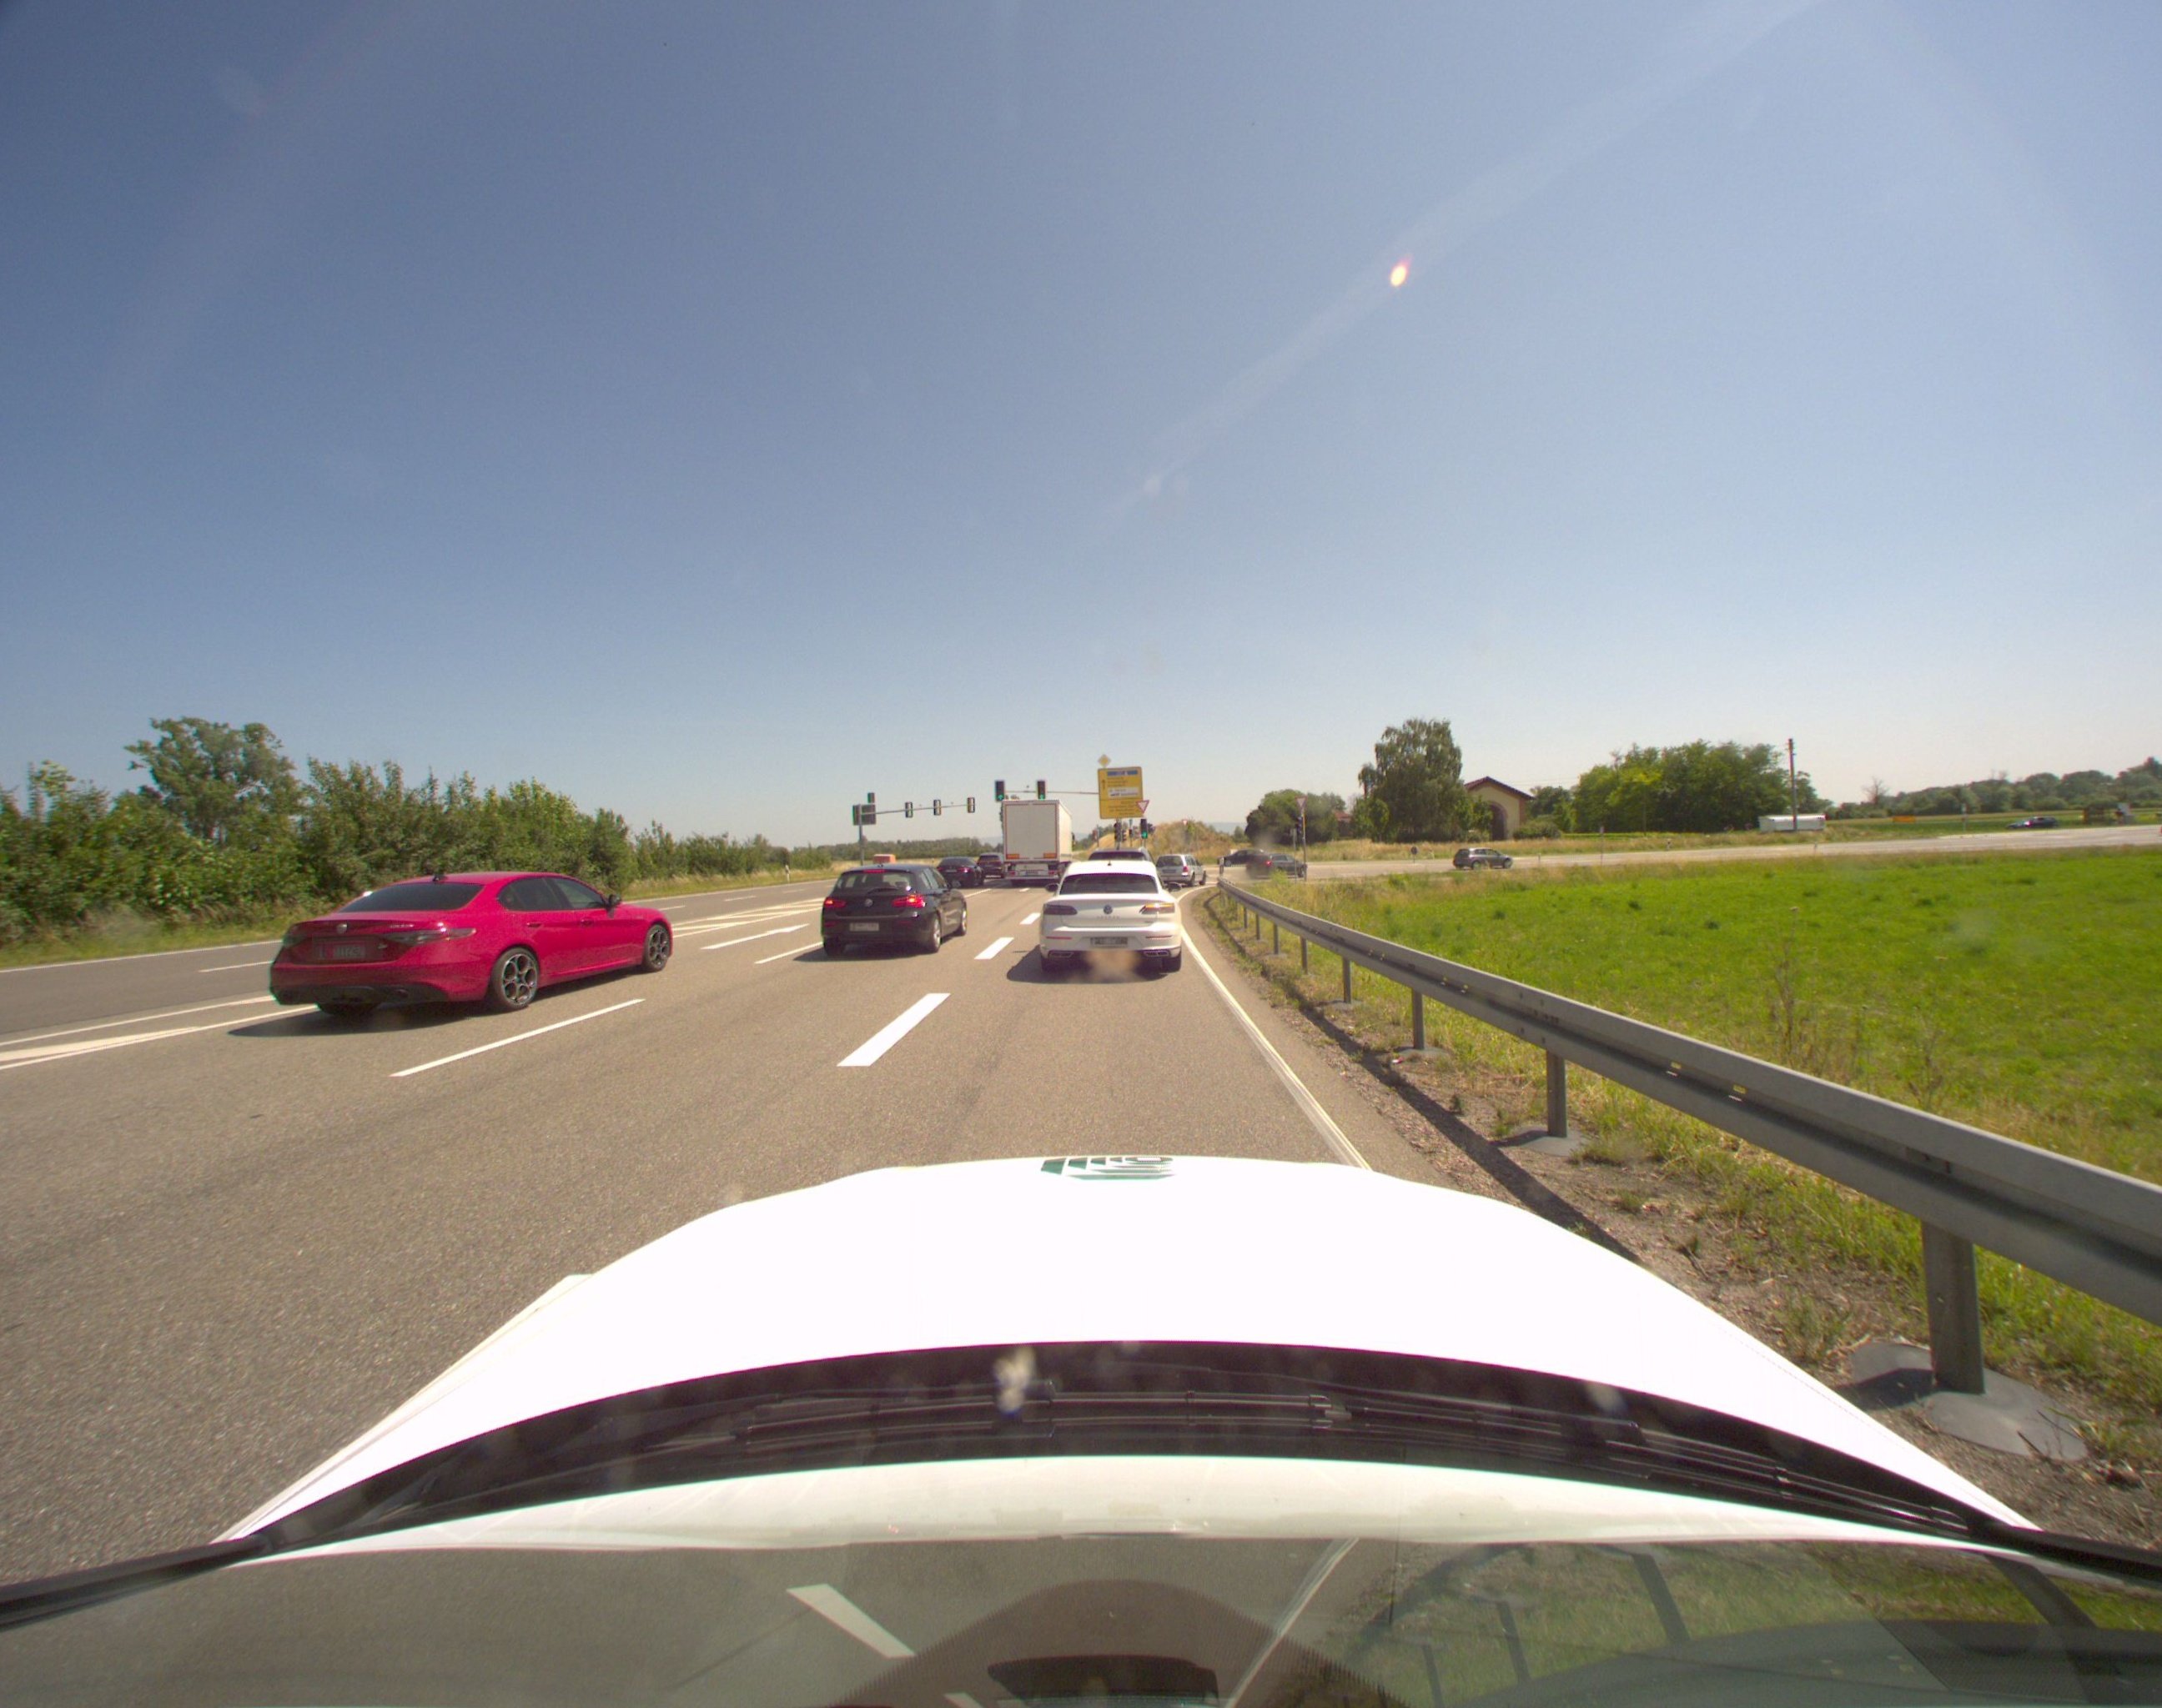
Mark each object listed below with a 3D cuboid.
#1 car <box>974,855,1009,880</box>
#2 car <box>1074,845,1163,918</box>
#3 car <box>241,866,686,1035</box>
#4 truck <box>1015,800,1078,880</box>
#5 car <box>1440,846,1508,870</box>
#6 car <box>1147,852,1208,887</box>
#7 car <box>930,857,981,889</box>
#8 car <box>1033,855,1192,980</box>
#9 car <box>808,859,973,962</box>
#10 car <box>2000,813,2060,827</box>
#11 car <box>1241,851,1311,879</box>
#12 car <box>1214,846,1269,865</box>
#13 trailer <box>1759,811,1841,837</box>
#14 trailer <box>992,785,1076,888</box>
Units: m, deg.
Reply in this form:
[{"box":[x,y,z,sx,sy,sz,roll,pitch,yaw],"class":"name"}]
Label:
[{"box":[-5.723,0.844,52.355,1.803,1.493,4.020,-1,0,0],"class":"car"},{"box":[1.065,0.635,20.678,1.925,1.616,4.386,-1,0,6],"class":"car"},{"box":[-6.670,0.901,9.623,1.743,1.421,4.566,-1,0,0],"class":"car"},{"box":[-1.982,-0.795,49.555,3.369,4.542,6.374,-1,0,1],"class":"truck"},{"box":[26.533,0.250,55.037,3.876,1.522,1.796,-1,-1,-15],"class":"car"},{"box":[4.299,0.657,35.675,1.785,1.429,4.112,-1,0,19],"class":"car"},{"box":[-5.912,0.876,38.870,1.803,1.398,4.020,-1,0,0],"class":"car"},{"box":[0.440,0.752,11.847,1.841,1.433,4.610,-1,0,2],"class":"car"},{"box":[-3.092,0.846,14.151,1.778,1.430,4.381,-1,0,1],"class":"car"},{"box":[97.324,-3.481,83.566,3.803,1.387,1.684,-1,2,9],"class":"car"},{"box":[11.256,0.603,46.866,4.440,1.476,1.783,-1,-1,-44],"class":"car"},{"box":[13.314,0.142,67.772,4.240,1.368,1.778,-3,1,4],"class":"car"},{"box":[78.093,-3.239,88.522,6.330,2.455,2.691,-3,1,6],"class":"trailer"},{"box":[-2.153,-0.789,42.869,3.369,4.542,12.874,-1,0,1],"class":"trailer"}]
